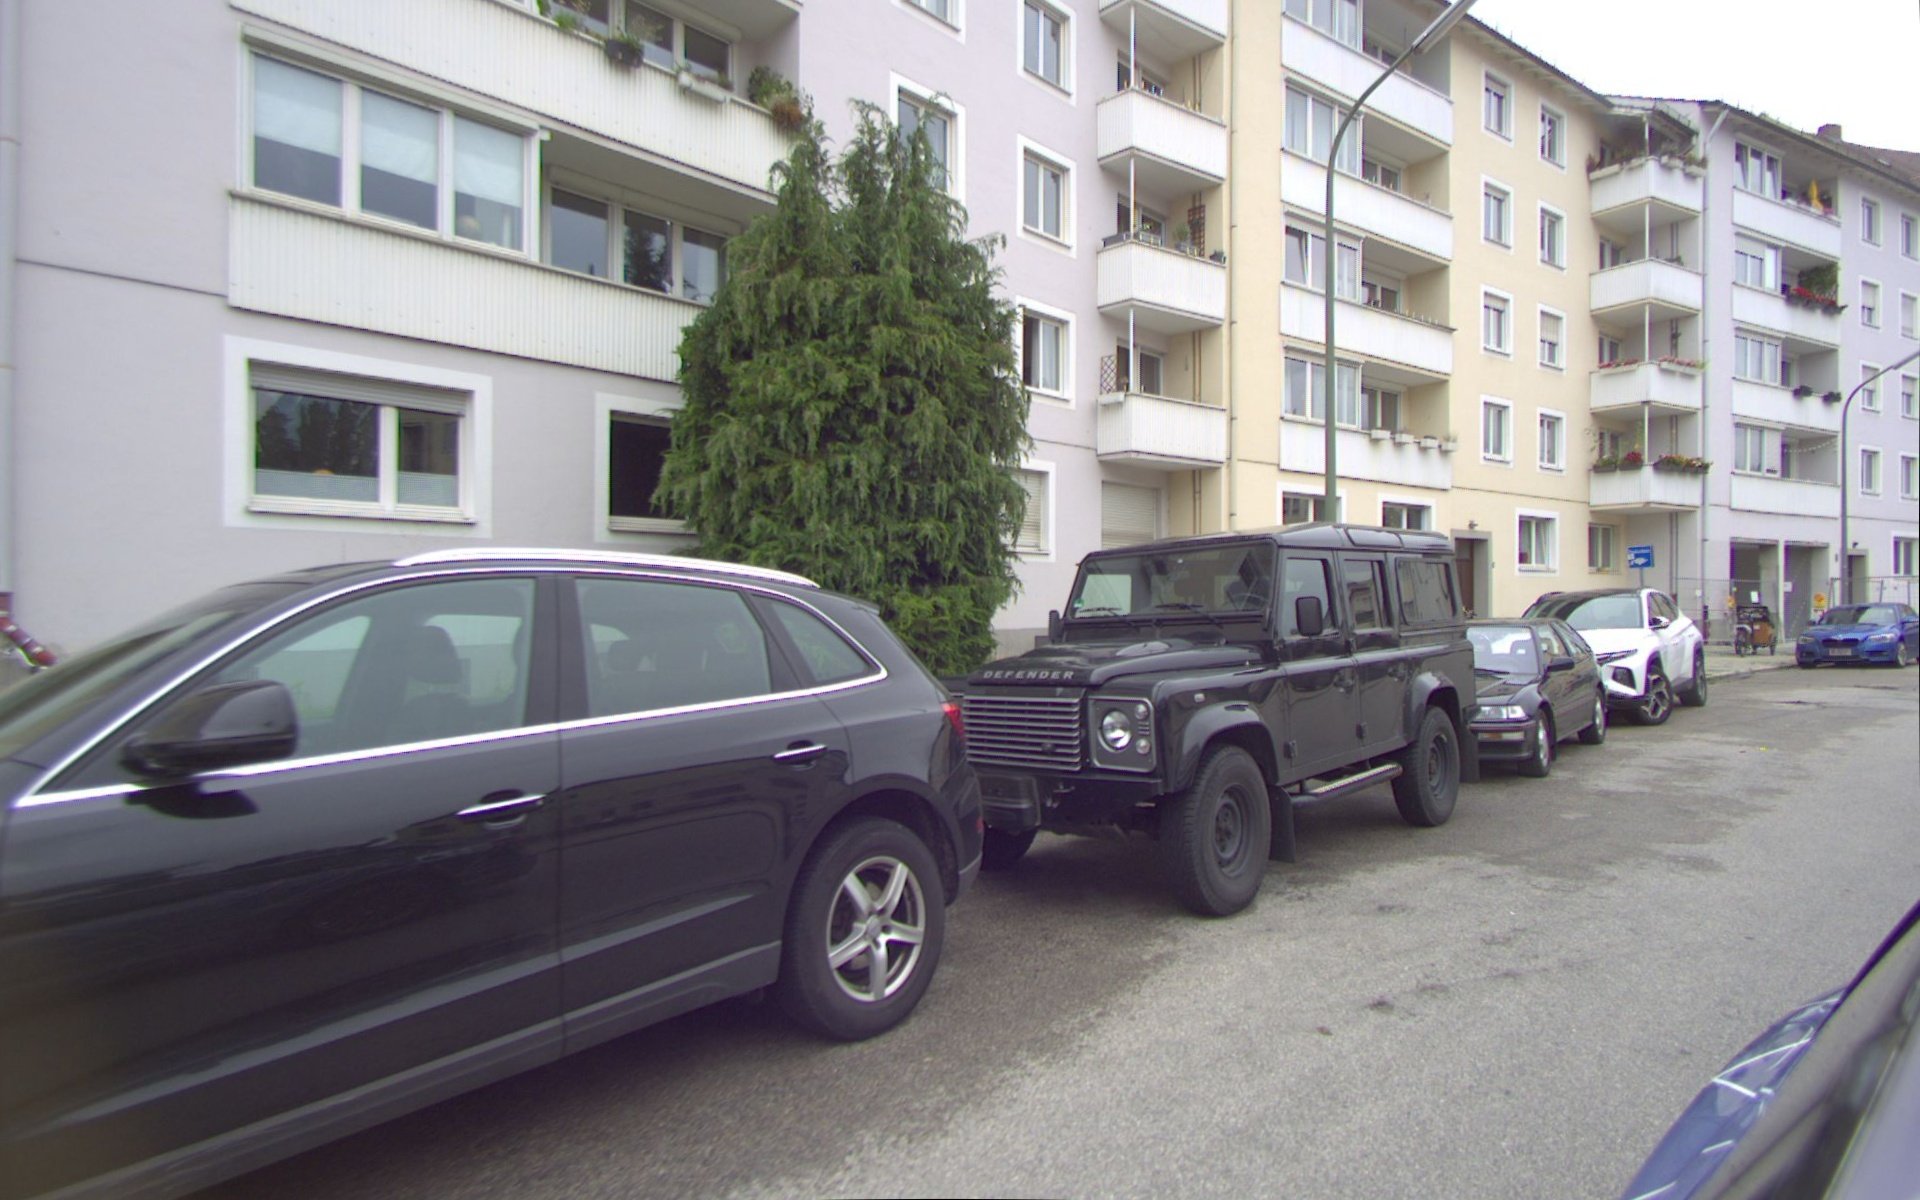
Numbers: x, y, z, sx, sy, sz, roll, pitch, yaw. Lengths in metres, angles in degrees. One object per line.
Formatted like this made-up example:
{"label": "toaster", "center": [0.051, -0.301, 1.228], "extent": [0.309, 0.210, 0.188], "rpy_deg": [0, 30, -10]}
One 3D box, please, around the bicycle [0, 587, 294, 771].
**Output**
{"label": "bicycle", "center": [-5.667, 0.485, 6.814], "extent": [0.467, 1.132, 1.912], "rpy_deg": [1, 1, 45]}

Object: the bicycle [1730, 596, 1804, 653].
{"label": "bicycle", "center": [20.320, 0.583, 25.463], "extent": [2.724, 1.339, 0.812], "rpy_deg": [-1, 2, -38]}

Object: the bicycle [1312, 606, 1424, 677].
{"label": "bicycle", "center": [7.535, 0.734, 18.752], "extent": [0.568, 1.172, 1.830], "rpy_deg": [0, 2, -41]}

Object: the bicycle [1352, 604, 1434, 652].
{"label": "bicycle", "center": [8.953, 0.569, 20.956], "extent": [0.437, 0.868, 1.469], "rpy_deg": [0, 3, -45]}

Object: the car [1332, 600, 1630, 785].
{"label": "car", "center": [5.143, 0.734, 9.755], "extent": [1.657, 1.366, 3.747], "rpy_deg": [-2, -1, 41]}

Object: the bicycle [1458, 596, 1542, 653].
{"label": "bicycle", "center": [12.503, 0.549, 23.479], "extent": [0.424, 1.237, 1.706], "rpy_deg": [1, 1, -34]}

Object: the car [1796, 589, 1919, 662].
{"label": "car", "center": [20.701, 0.580, 22.718], "extent": [4.541, 1.461, 1.835], "rpy_deg": [1, -4, -36]}

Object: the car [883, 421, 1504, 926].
{"label": "car", "center": [1.765, 0.346, 6.437], "extent": [1.748, 2.109, 4.442], "rpy_deg": [-2, -3, 45]}

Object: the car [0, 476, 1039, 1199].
{"label": "car", "center": [-1.769, 0.588, 2.973], "extent": [1.656, 1.586, 4.447], "rpy_deg": [-2, -1, 41]}

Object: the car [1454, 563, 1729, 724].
{"label": "car", "center": [8.225, 0.509, 12.991], "extent": [2.026, 1.700, 4.538], "rpy_deg": [-2, -2, 45]}
